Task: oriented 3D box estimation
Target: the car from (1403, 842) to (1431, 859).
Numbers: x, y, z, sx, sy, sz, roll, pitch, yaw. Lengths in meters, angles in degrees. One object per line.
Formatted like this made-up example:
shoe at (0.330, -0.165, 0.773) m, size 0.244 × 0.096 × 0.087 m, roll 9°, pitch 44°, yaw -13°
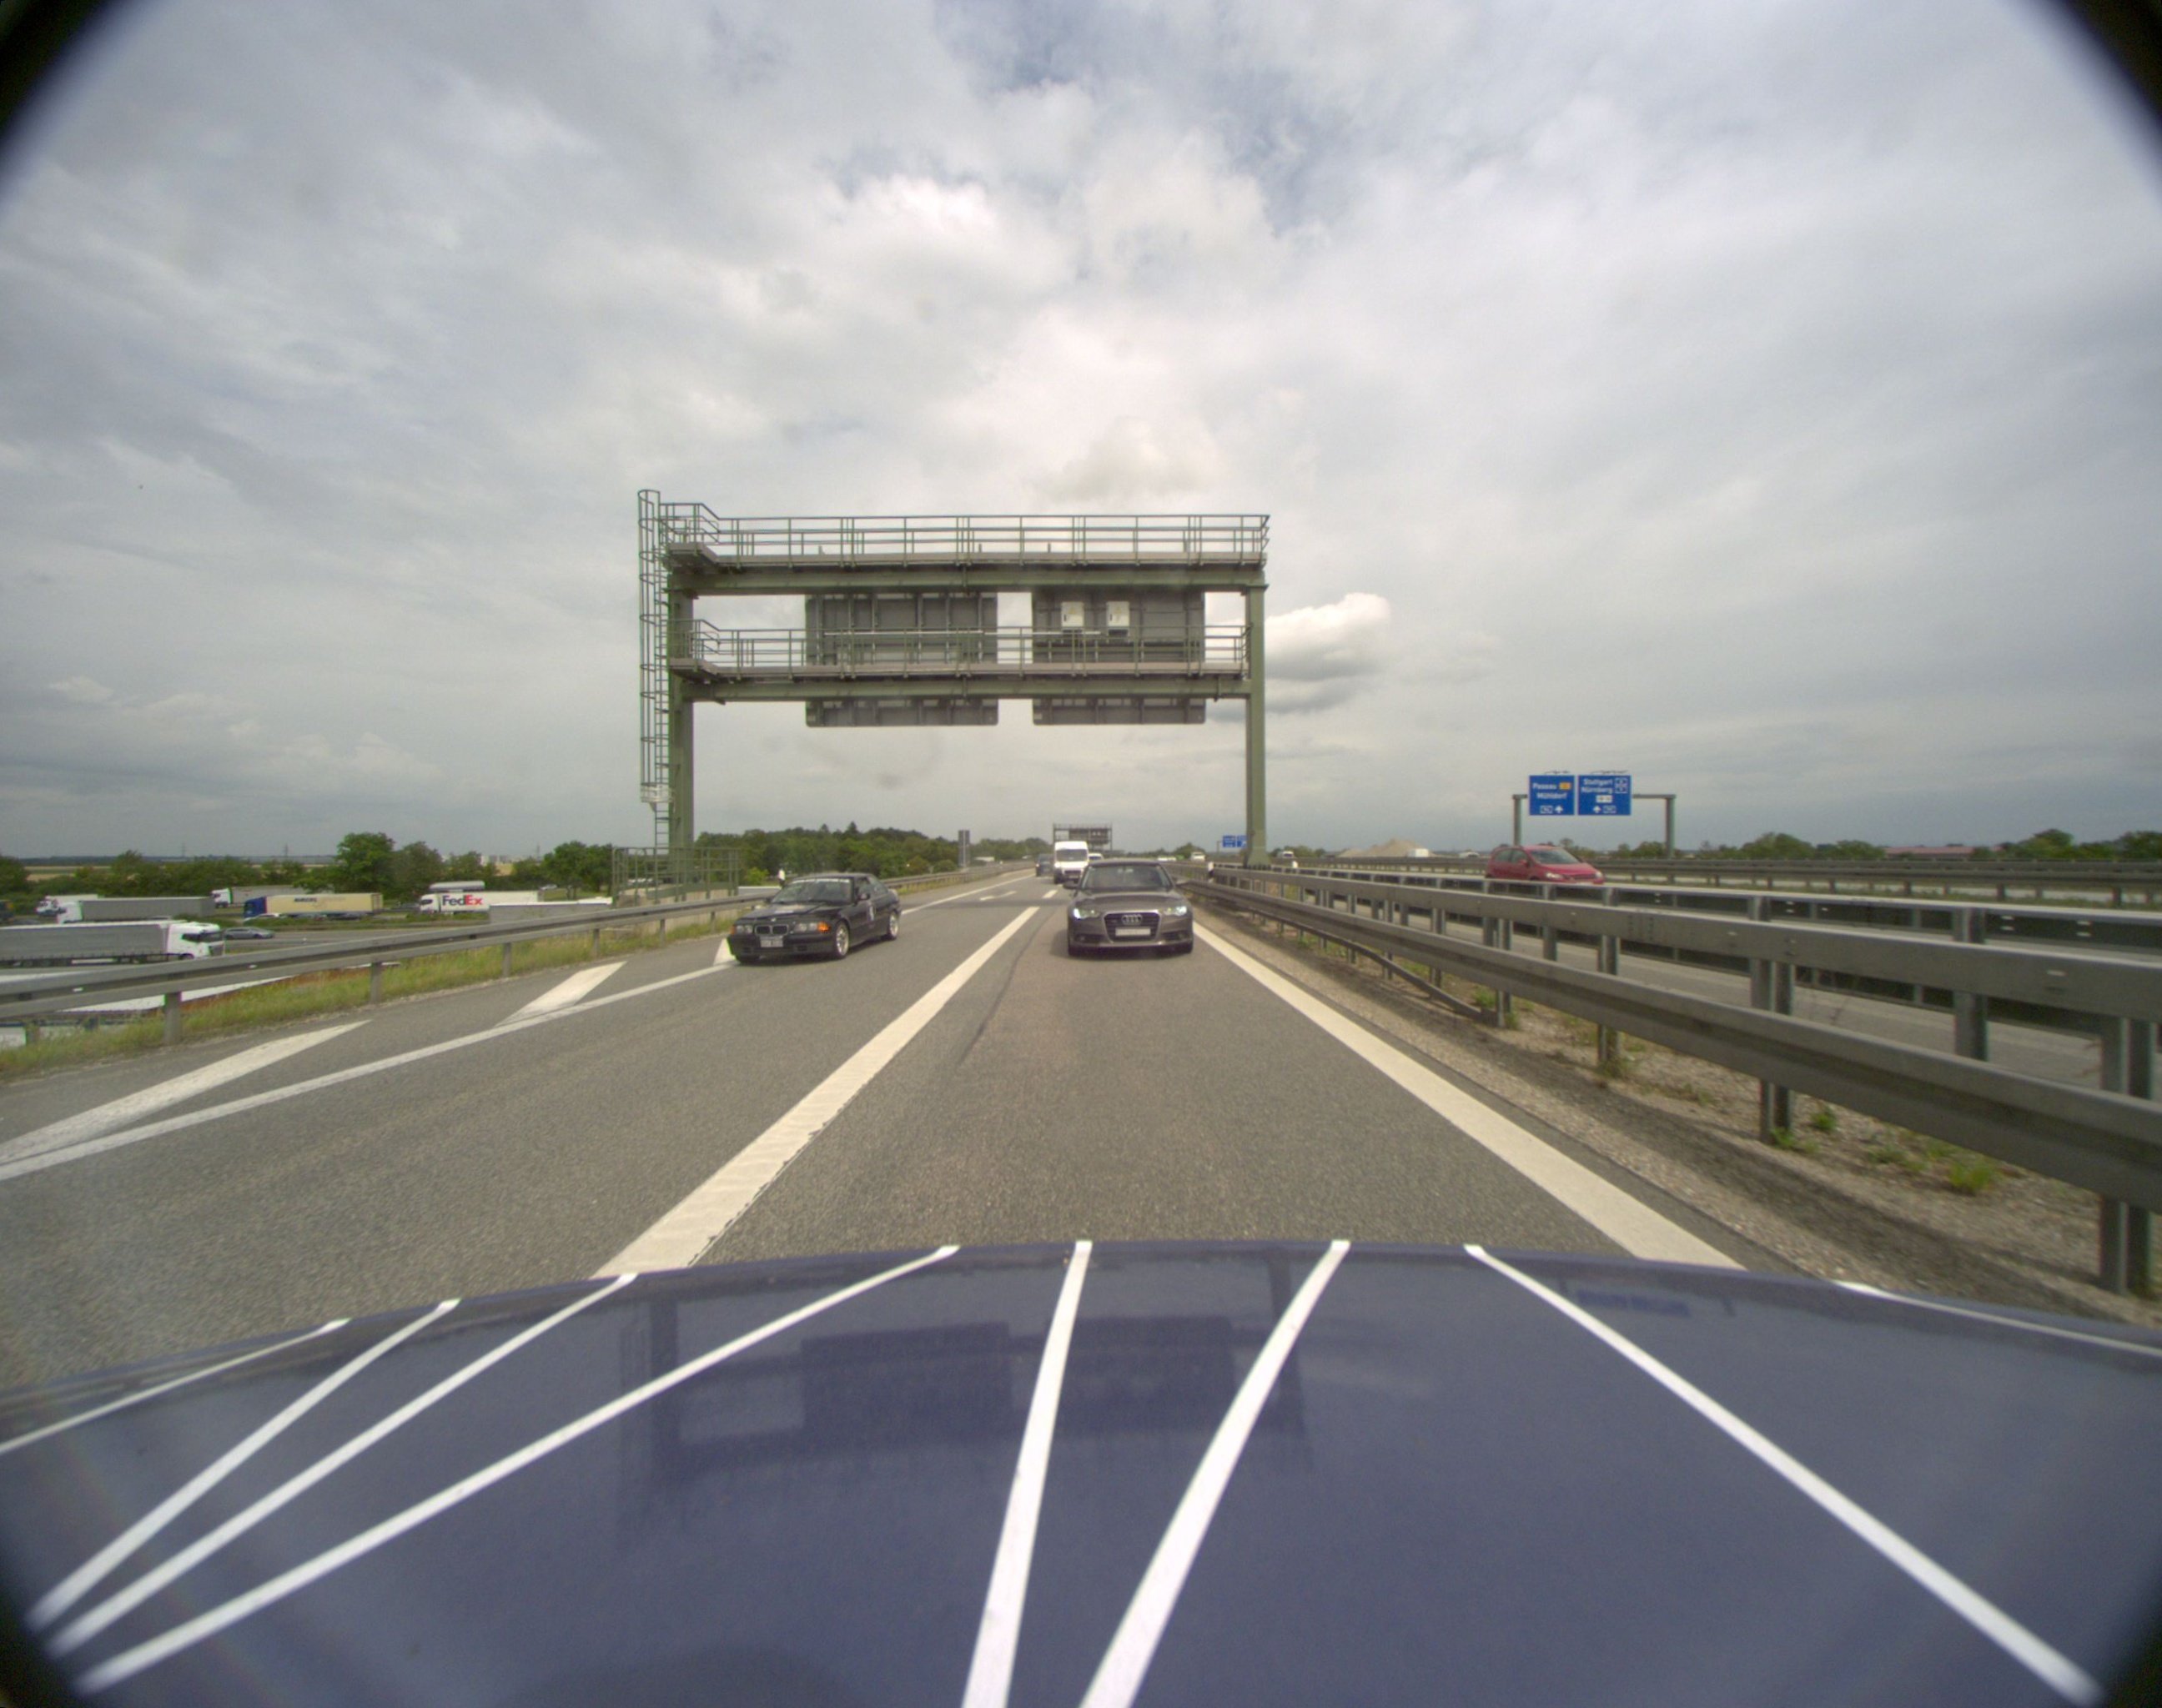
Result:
car at (47.780, -0.465, 108.160) m, size 1.998 × 2.292 × 4.491 m, roll -2°, pitch 0°, yaw 1°

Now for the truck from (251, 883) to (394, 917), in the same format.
truck at (-120.578, 7.214, 121.087) m, size 16.371 × 4.527 × 4.004 m, roll -2°, pitch 0°, yaw -13°

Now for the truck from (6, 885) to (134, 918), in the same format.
truck at (-178.148, 8.318, 134.246) m, size 13.026 × 5.010 × 3.941 m, roll -2°, pitch 0°, yaw -41°

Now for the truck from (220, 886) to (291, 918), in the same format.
truck at (-129.230, 7.424, 119.107) m, size 6.295 × 4.484 × 3.928 m, roll -2°, pitch 0°, yaw -13°

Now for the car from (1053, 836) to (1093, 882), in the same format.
car at (-0.488, 0.316, 44.612) m, size 2.119 × 2.439 × 6.151 m, roll -2°, pitch 0°, yaw -1°

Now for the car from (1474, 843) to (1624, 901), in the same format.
car at (14.026, 0.527, 23.132) m, size 1.824 × 1.536 × 4.355 m, roll -2°, pitch 0°, yaw 0°

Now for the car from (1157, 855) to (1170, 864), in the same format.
car at (17.036, 1.131, 156.964) m, size 1.999 × 1.739 × 4.000 m, roll -2°, pitch 0°, yaw -1°

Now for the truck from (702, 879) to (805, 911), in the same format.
truck at (-58.408, 7.259, 136.012) m, size 16.177 × 4.673 × 3.990 m, roll -2°, pitch 1°, yaw -11°

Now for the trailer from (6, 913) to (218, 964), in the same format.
trailer at (-96.738, 8.349, 76.189) m, size 14.254 × 4.075 × 2.986 m, roll -2°, pitch 0°, yaw -13°

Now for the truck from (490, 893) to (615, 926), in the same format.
truck at (-67.848, 7.069, 97.899) m, size 13.147 × 3.657 × 2.494 m, roll -1°, pitch 0°, yaw -15°

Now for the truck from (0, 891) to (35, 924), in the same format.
truck at (-163.354, 8.046, 109.989) m, size 15.308 × 4.527 × 4.005 m, roll -2°, pitch 0°, yaw -11°

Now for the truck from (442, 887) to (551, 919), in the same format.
truck at (-96.918, 8.030, 126.315) m, size 13.796 × 4.527 × 4.004 m, roll -2°, pitch 0°, yaw -13°

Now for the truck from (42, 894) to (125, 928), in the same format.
truck at (-149.297, 8.441, 113.843) m, size 6.295 × 4.484 × 3.928 m, roll -2°, pitch 0°, yaw -12°

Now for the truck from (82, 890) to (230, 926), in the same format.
truck at (-140.592, 8.147, 115.774) m, size 14.889 × 4.527 × 4.004 m, roll -2°, pitch 0°, yaw -12°

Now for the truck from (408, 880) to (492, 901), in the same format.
truck at (-144.878, 8.390, 174.871) m, size 3.078 × 4.065 × 14.758 m, roll -2°, pitch 0°, yaw 26°

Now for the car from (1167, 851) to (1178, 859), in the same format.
car at (20.980, 0.280, 174.413) m, size 1.999 × 1.870 × 4.000 m, roll -2°, pitch 0°, yaw -1°

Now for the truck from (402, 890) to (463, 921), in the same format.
truck at (-105.881, 8.380, 124.170) m, size 6.295 × 4.484 × 3.928 m, roll -2°, pitch 0°, yaw -13°

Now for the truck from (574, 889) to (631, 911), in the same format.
truck at (-79.102, 7.652, 125.763) m, size 7.569 × 3.178 × 2.230 m, roll -2°, pitch 0°, yaw -13°

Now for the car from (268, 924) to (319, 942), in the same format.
car at (-98.626, 9.887, 95.191) m, size 4.001 × 1.592 × 1.875 m, roll -5°, pitch 0°, yaw -13°

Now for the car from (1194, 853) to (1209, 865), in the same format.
car at (21.076, 0.827, 133.495) m, size 1.998 × 2.002 × 4.466 m, roll -2°, pitch 0°, yaw 2°

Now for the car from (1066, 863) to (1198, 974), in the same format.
car at (0.746, 0.905, 12.343) m, size 1.747 × 1.380 × 4.000 m, roll -2°, pitch 1°, yaw 1°

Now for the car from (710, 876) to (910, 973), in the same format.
car at (-4.461, 1.094, 13.307) m, size 1.708 × 1.273 × 4.367 m, roll -2°, pitch 0°, yaw 3°

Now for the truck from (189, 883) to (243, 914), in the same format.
truck at (-164.464, 8.371, 144.596) m, size 3.848 × 5.282 × 6.455 m, roll -2°, pitch 1°, yaw 43°

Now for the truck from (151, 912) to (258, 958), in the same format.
truck at (-89.609, 8.222, 77.835) m, size 6.532 × 4.075 × 2.987 m, roll -2°, pitch 0°, yaw -13°

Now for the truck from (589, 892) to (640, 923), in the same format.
truck at (-61.114, 6.984, 99.709) m, size 5.169 × 3.657 × 2.494 m, roll -1°, pitch 0°, yaw -15°

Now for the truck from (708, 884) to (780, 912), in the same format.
truck at (-57.107, 7.392, 129.165) m, size 10.789 × 4.047 × 3.237 m, roll -2°, pitch 0°, yaw -16°

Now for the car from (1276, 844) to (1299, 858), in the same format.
car at (28.920, -0.366, 106.671) m, size 1.915 × 1.783 × 4.823 m, roll -5°, pitch 0°, yaw 1°

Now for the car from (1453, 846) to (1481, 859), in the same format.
car at (50.915, -0.178, 100.289) m, size 1.670 × 1.487 × 3.910 m, roll -5°, pitch 0°, yaw 1°

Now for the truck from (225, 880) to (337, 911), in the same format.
truck at (-158.798, 8.104, 151.136) m, size 3.851 × 5.184 × 14.887 m, roll -2°, pitch 0°, yaw 40°

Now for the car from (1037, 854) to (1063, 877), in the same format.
car at (-2.524, 0.934, 63.153) m, size 1.929 × 1.761 × 4.000 m, roll -2°, pitch 0°, yaw 0°

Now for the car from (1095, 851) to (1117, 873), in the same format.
car at (2.248, 0.728, 69.477) m, size 1.846 × 1.870 × 4.289 m, roll -2°, pitch 0°, yaw 1°
